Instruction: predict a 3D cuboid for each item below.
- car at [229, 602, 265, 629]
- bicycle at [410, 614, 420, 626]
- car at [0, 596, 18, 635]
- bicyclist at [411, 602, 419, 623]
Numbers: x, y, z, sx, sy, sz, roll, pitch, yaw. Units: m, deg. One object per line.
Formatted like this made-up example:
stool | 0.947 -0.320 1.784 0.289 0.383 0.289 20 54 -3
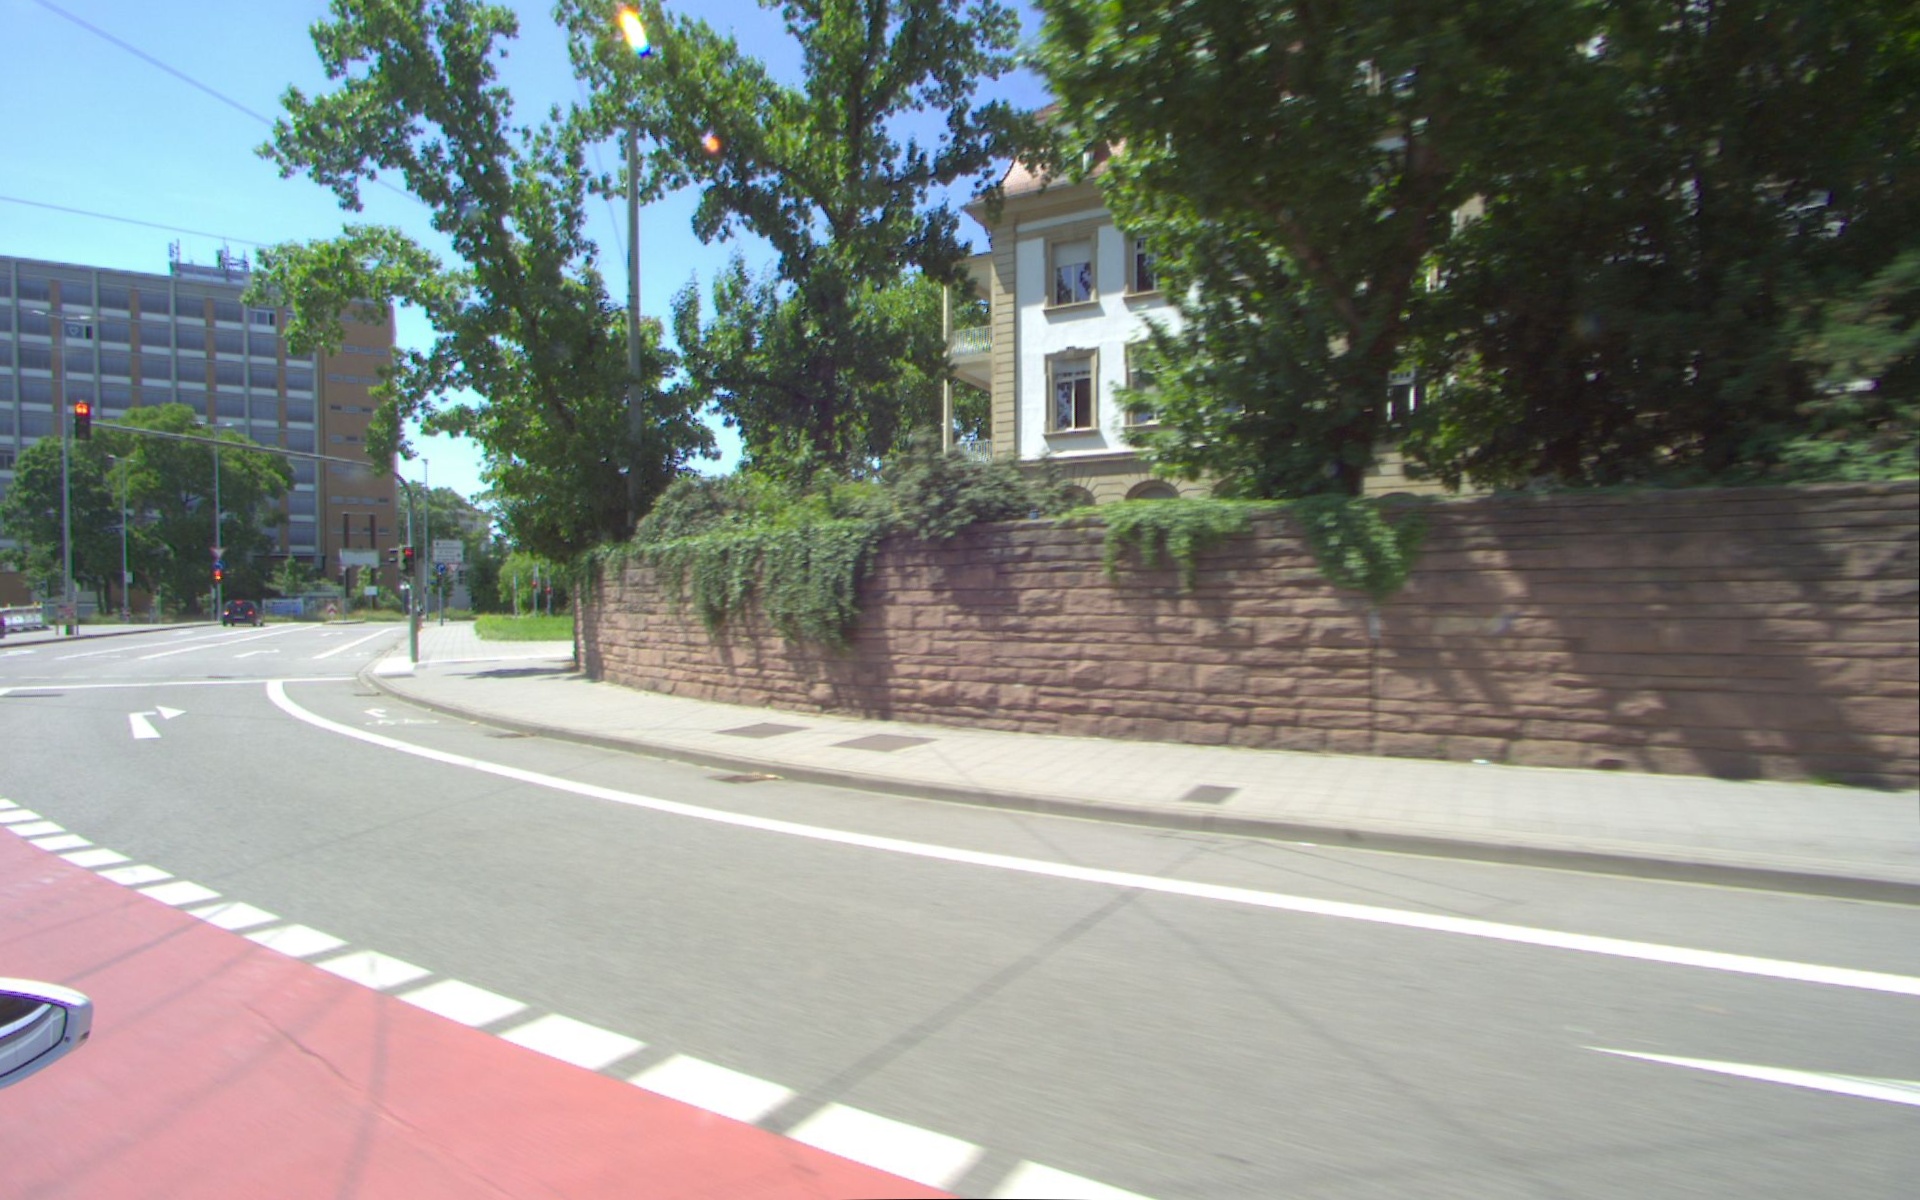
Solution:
car | -42.127 0.918 59.111 1.673 1.547 3.663 1 -1 -36
bicycle | -31.381 1.139 57.640 0.373 0.654 1.634 -1 0 -33
car | -36.086 0.575 36.181 1.709 1.443 4.109 0 -1 -25
bicyclist | -31.404 0.722 57.653 0.348 1.244 0.560 -1 1 -34
